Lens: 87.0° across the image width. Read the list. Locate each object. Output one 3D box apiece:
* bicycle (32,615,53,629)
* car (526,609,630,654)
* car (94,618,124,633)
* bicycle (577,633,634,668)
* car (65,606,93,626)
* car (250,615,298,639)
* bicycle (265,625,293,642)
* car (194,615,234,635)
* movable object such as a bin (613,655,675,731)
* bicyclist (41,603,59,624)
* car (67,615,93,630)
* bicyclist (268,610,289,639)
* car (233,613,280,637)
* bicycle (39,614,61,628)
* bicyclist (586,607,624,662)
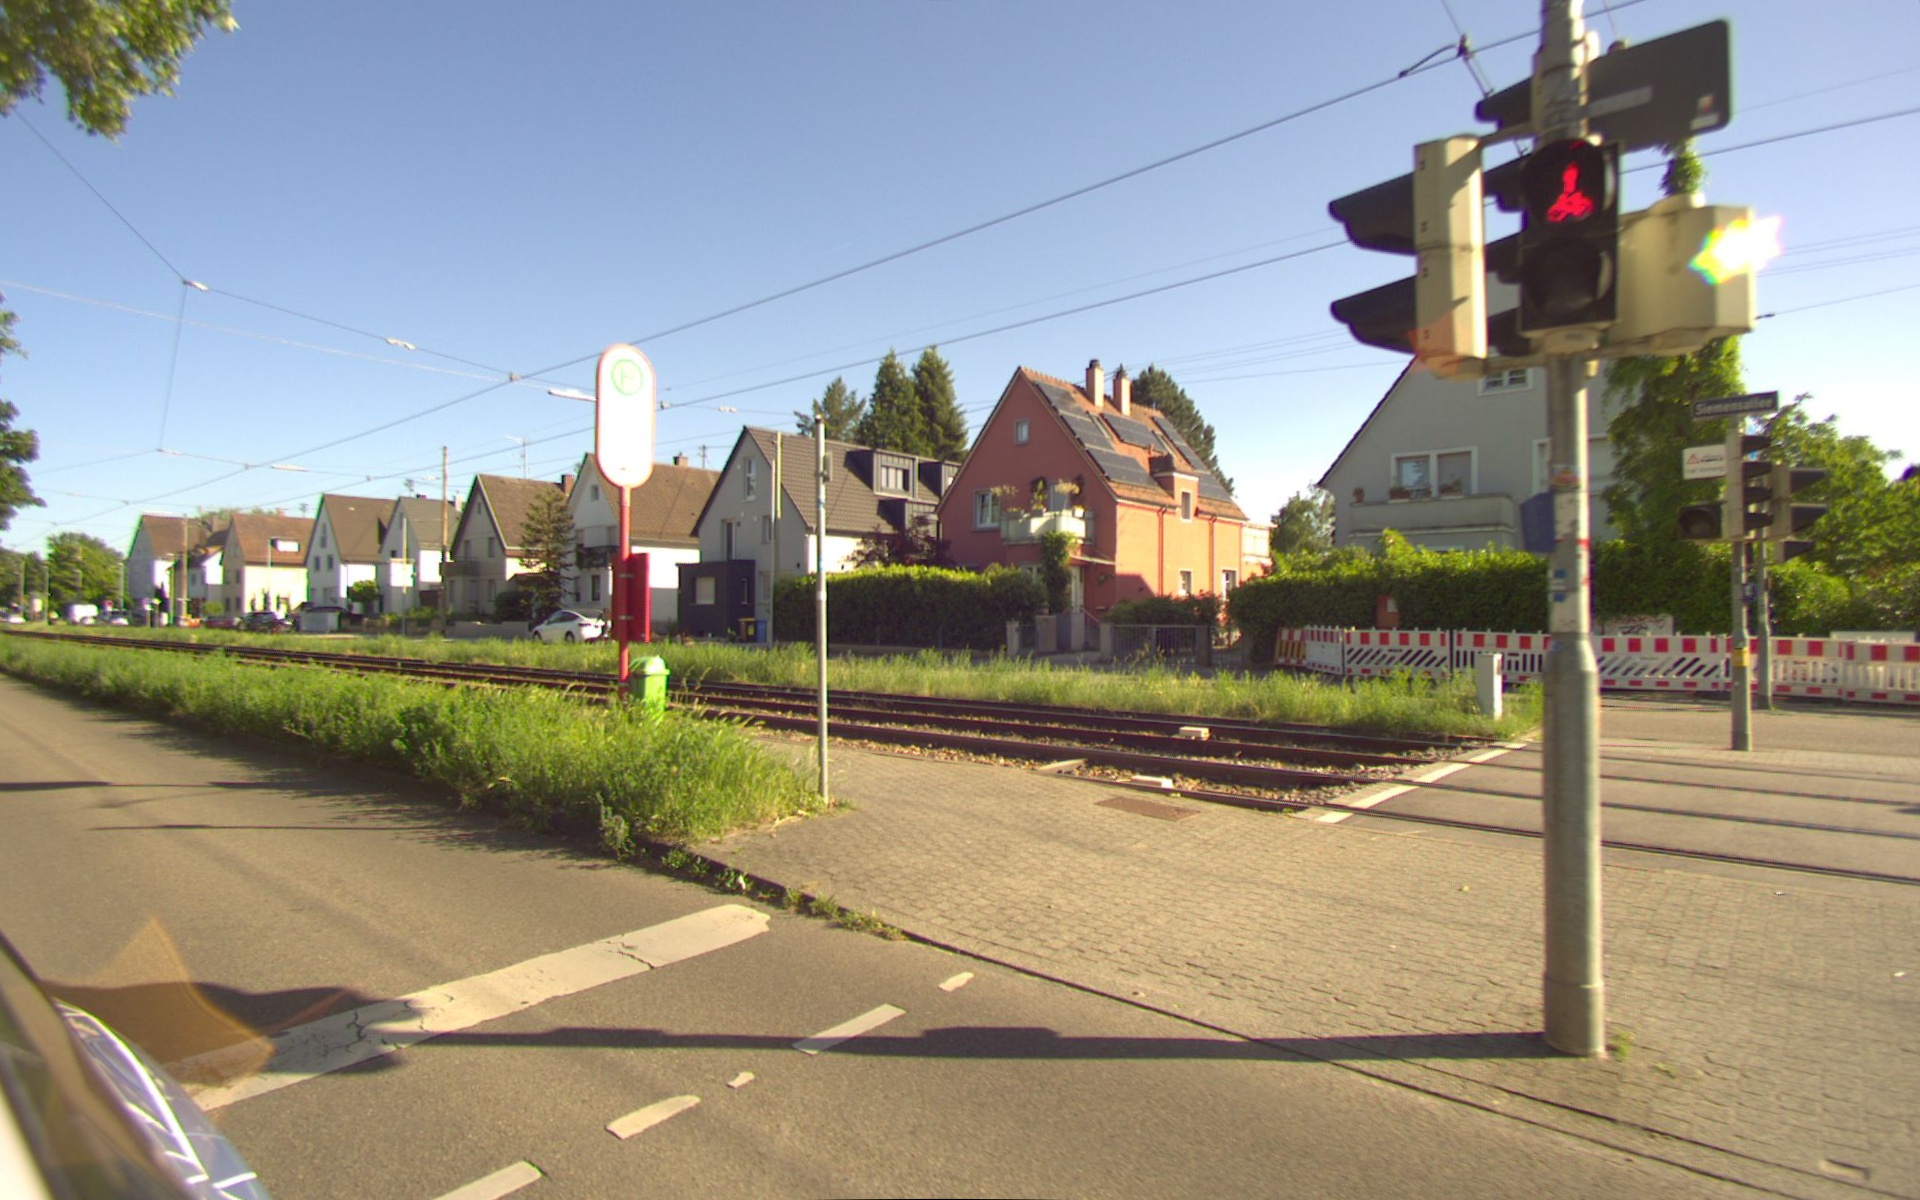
[{"bbox_3d":[-105.446,2.494,116.324,3.998,1.589,1.336,0,0,41],"label":"bicycle"},{"bbox_3d":[-15.728,1.246,41.531,4.837,1.691,1.973,0,0,41],"label":"car"},{"bbox_3d":[-86.482,2.573,102.791,3.998,1.517,1.768,0,0,41],"label":"car"},{"bbox_3d":[-12.464,1.757,35.540,2.308,1.143,0.843,0,0,41],"label":"bicycle"},{"bbox_3d":[-100.471,1.821,115.424,4.001,2.239,2.104,0,0,44],"label":"car"},{"bbox_3d":[-45.488,1.766,67.100,3.754,1.501,1.716,0,0,41],"label":"car"},{"bbox_3d":[-40.491,1.974,60.152,2.308,0.958,0.843,0,0,41],"label":"bicycle"},{"bbox_3d":[-57.846,1.914,78.446,3.822,1.392,1.733,0,0,41],"label":"car"},{"bbox_3d":[-2.663,0.771,8.528,0.381,0.587,0.380,-1,0,-40],"label":"movable object such as a bin"},{"bbox_3d":[-101.711,1.484,113.074,1.622,2.250,1.293,-1,0,41],"label":"bicyclist"},{"bbox_3d":[-97.216,2.448,111.783,4.001,1.517,1.767,0,0,44],"label":"car"},{"bbox_3d":[-40.526,1.458,60.196,0.836,1.687,0.843,-1,0,39],"label":"bicyclist"},{"bbox_3d":[-48.617,1.710,69.943,4.010,1.609,1.779,0,0,41],"label":"car"},{"bbox_3d":[-101.777,2.323,113.158,3.998,1.506,1.336,0,0,41],"label":"bicycle"},{"bbox_3d":[-12.448,1.192,35.496,1.071,1.901,0.843,-1,0,41],"label":"bicyclist"}]
